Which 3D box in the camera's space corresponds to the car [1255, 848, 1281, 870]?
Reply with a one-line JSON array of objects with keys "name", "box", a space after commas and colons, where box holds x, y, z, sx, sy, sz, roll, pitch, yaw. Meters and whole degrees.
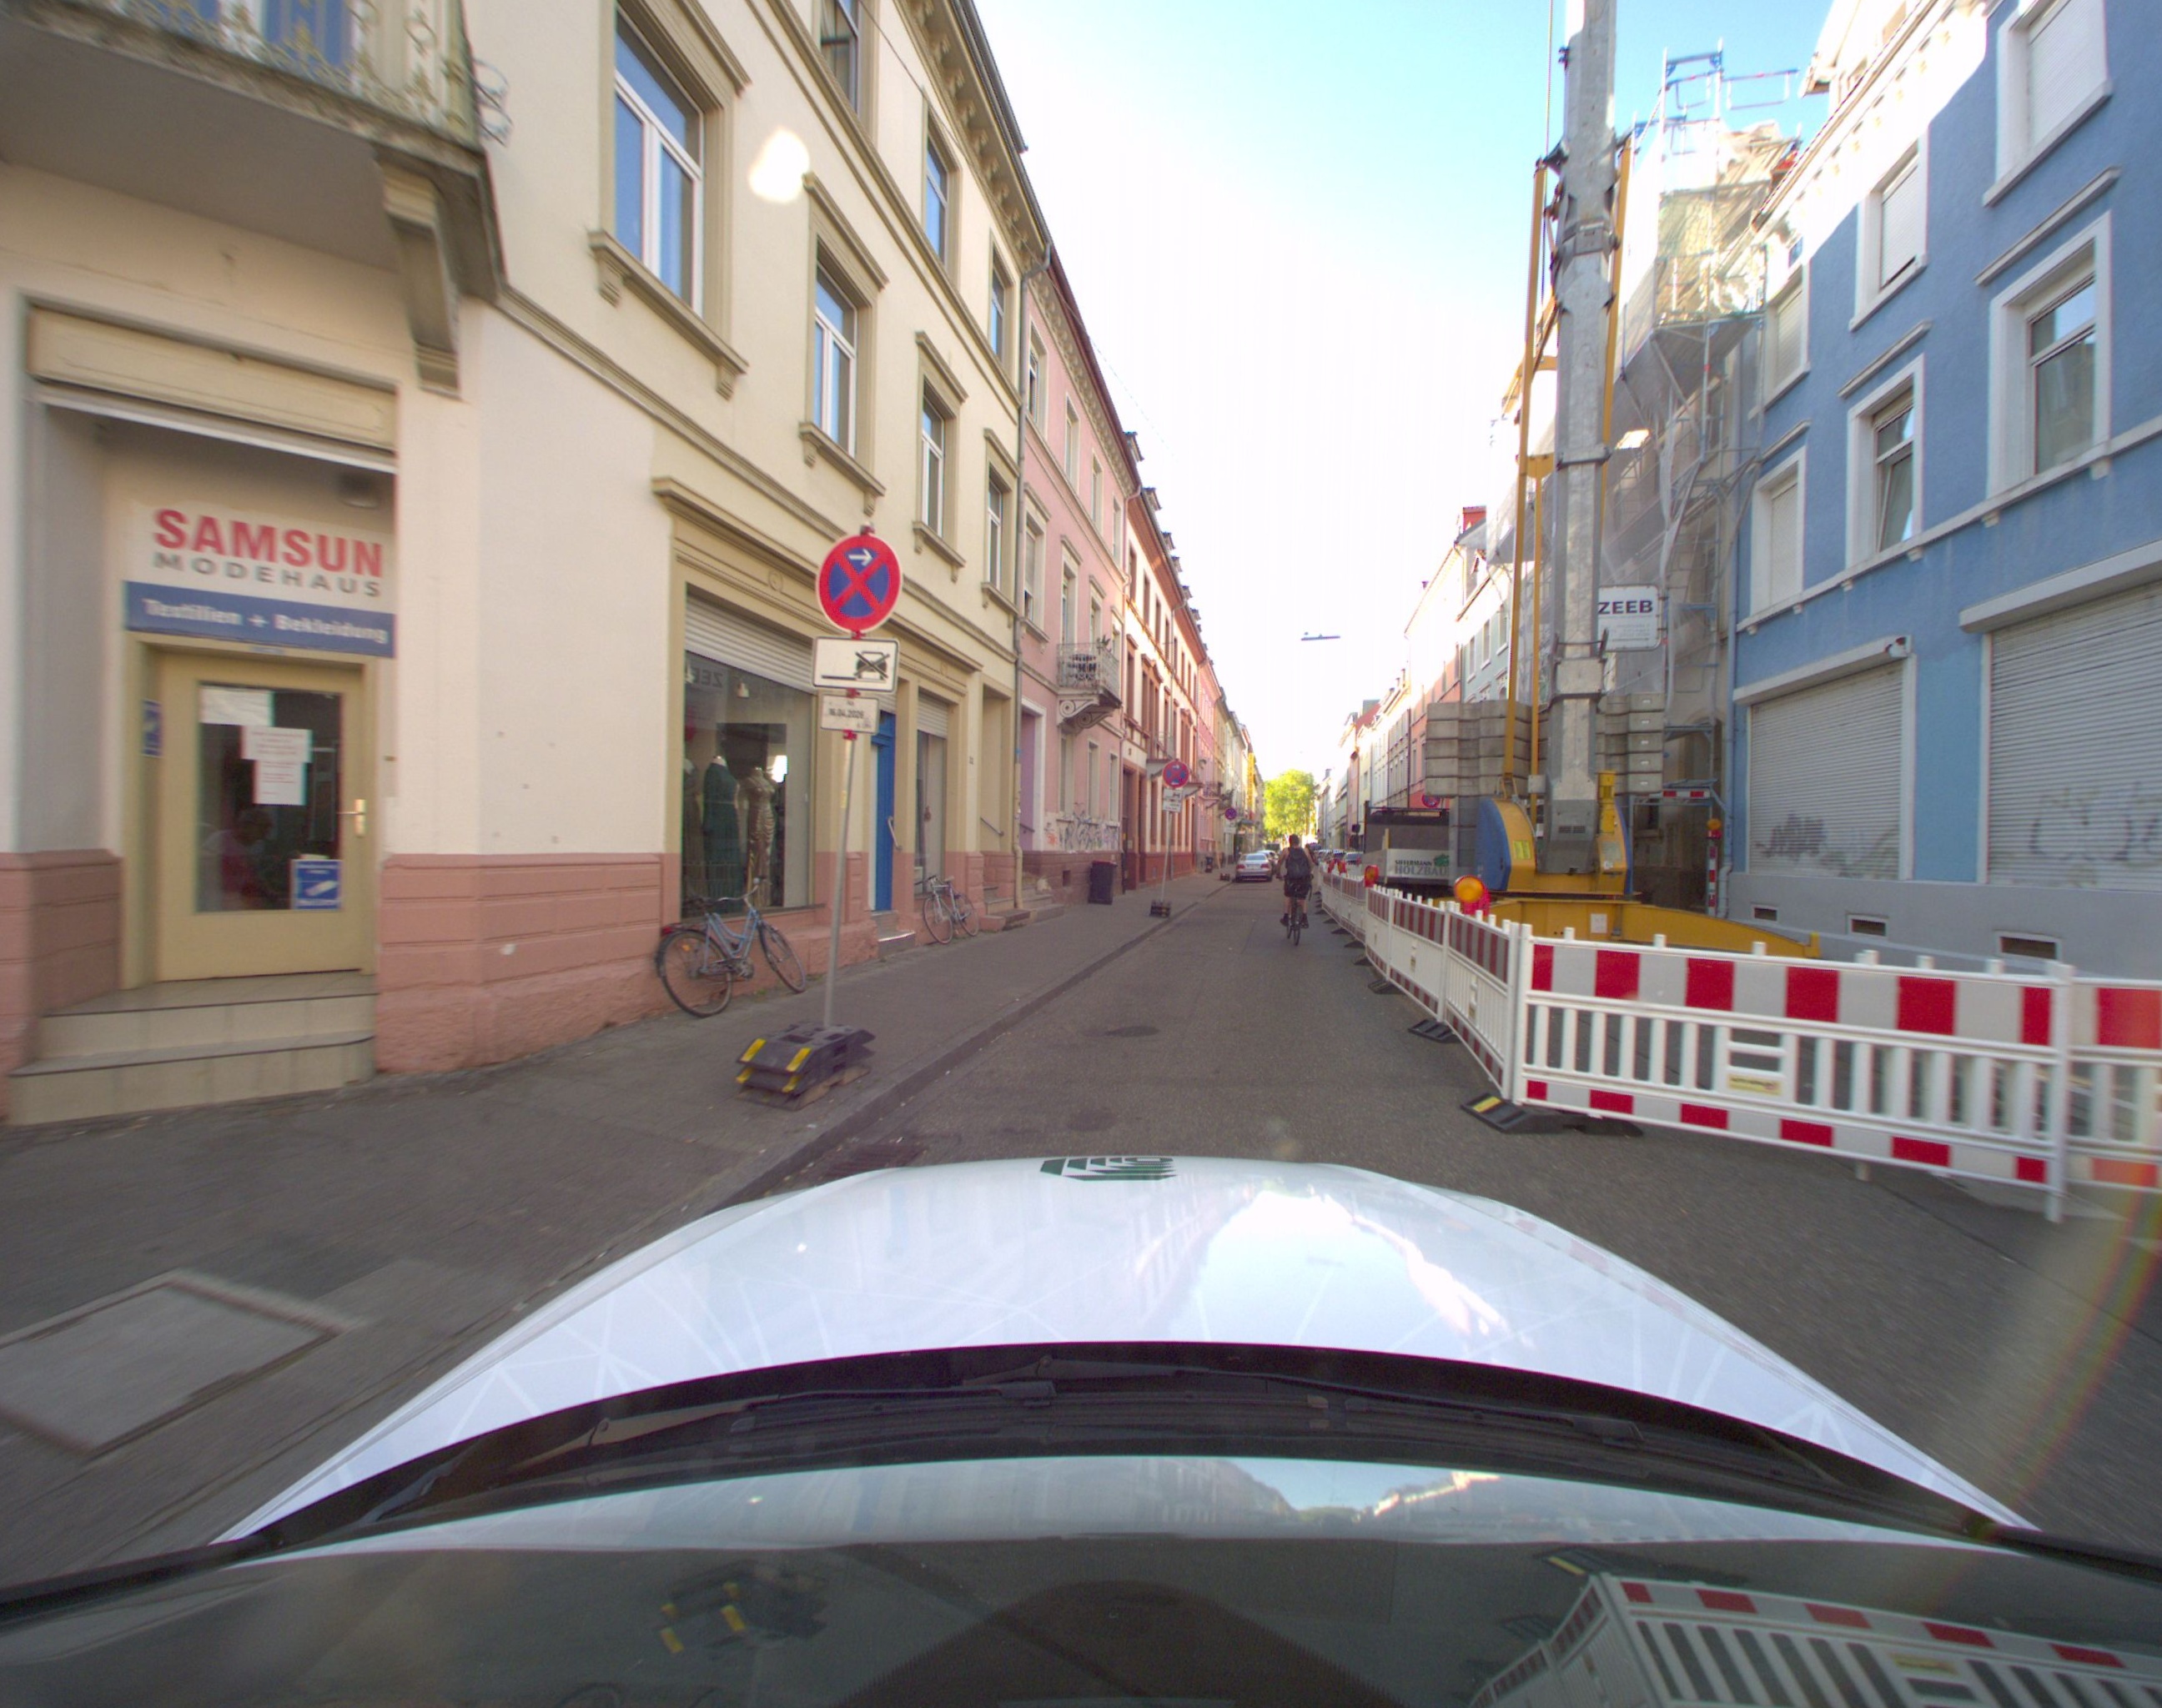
[{"name": "car", "box": [13.146, 0.369, 57.192, 1.660, 1.442, 4.181, -2, -1, 14]}]

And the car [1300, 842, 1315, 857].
[{"name": "car", "box": [38.317, -0.746, 138.009, 2.291, 2.538, 6.795, -2, -1, 14]}]

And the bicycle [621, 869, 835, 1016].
[{"name": "bicycle", "box": [-2.908, 0.671, 6.953, 0.599, 1.022, 1.825, 5, 0, 14]}]

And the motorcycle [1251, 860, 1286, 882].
[{"name": "motorcycle", "box": [12.424, 1.130, 53.858, 2.142, 1.359, 0.539, -2, 0, -4]}]

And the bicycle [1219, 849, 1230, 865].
[{"name": "bicycle", "box": [10.450, 0.209, 59.281, 0.588, 1.089, 2.087, 2, 0, 14]}]

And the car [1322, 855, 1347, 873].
[{"name": "car", "box": [20.802, 0.840, 66.986, 1.698, 1.383, 4.015, -2, -1, 14]}]

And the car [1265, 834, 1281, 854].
[{"name": "car", "box": [24.331, -1.220, 103.226, 1.897, 2.497, 4.179, 0, 0, 12]}]

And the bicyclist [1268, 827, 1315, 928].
[{"name": "bicyclist", "box": [3.532, 0.384, 13.666, 0.697, 1.633, 1.094, -1, -1, 14]}]

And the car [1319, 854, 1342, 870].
[{"name": "car", "box": [22.144, 0.722, 72.293, 1.698, 1.383, 4.015, -2, -1, 14]}]

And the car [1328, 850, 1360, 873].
[{"name": "car", "box": [18.150, 0.503, 56.352, 1.804, 1.521, 4.015, -2, -1, 14]}]

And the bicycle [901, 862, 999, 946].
[{"name": "bicycle", "box": [-1.790, 0.647, 11.439, 0.617, 1.022, 1.825, 3, 1, 14]}]

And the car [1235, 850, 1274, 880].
[{"name": "car", "box": [8.648, 0.539, 40.271, 1.698, 1.383, 4.522, -2, -1, 14]}]

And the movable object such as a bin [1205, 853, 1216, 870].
[{"name": "movable object such as a bin", "box": [7.402, 0.404, 46.535, 0.539, 0.944, 0.489, 2, 0, 15]}]

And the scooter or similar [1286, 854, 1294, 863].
[{"name": "scooter or similar", "box": [20.724, 0.400, 80.740, 0.765, 0.872, 0.773, 2, 0, 11]}]

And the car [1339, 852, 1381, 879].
[{"name": "car", "box": [15.747, 0.621, 46.177, 1.804, 1.438, 4.808, -2, -1, 14]}]

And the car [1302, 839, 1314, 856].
[{"name": "car", "box": [51.198, -1.406, 183.826, 2.291, 3.768, 6.795, -2, -1, 14]}]

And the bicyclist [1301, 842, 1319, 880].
[{"name": "bicyclist", "box": [9.819, 0.278, 34.992, 0.697, 1.605, 0.816, -1, 1, 13]}]

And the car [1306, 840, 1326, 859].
[{"name": "car", "box": [32.609, -0.632, 113.145, 2.291, 2.538, 6.795, -2, -1, 14]}]

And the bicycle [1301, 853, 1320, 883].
[{"name": "bicycle", "box": [9.833, 0.582, 34.991, 0.697, 1.208, 2.351, -1, 1, 14]}]

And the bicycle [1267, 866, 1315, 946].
[{"name": "bicycle", "box": [3.539, 0.815, 13.740, 0.697, 1.208, 2.351, -1, -1, 14]}]

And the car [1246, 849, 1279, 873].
[{"name": "car", "box": [11.312, 0.405, 50.680, 1.697, 1.383, 4.375, 0, 1, 16]}]

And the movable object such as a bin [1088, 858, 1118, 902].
[{"name": "movable object such as a bin", "box": [0.533, 0.614, 19.809, 0.601, 1.035, 0.598, 2, 0, 12]}]

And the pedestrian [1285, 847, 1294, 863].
[{"name": "pedestrian", "box": [20.847, 0.057, 81.280, 0.765, 1.578, 0.903, 2, 0, 11]}]

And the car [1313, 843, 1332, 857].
[{"name": "car", "box": [25.625, -0.436, 86.504, 1.698, 1.393, 4.015, -2, -1, 14]}]

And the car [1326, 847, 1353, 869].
[{"name": "car", "box": [19.587, 0.295, 61.780, 1.698, 1.556, 4.015, -2, -1, 14]}]

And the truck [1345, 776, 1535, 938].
[{"name": "truck", "box": [7.537, 0.033, 18.119, 2.642, 2.814, 7.422, 2, 0, 14]}]

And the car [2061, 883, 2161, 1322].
[{"name": "car", "box": [4.052, 0.851, 0.874, 1.759, 1.434, 4.049, 1, 0, 13]}]

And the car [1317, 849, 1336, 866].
[{"name": "car", "box": [24.536, 0.343, 81.507, 1.609, 1.550, 4.015, -2, -1, 14]}]
